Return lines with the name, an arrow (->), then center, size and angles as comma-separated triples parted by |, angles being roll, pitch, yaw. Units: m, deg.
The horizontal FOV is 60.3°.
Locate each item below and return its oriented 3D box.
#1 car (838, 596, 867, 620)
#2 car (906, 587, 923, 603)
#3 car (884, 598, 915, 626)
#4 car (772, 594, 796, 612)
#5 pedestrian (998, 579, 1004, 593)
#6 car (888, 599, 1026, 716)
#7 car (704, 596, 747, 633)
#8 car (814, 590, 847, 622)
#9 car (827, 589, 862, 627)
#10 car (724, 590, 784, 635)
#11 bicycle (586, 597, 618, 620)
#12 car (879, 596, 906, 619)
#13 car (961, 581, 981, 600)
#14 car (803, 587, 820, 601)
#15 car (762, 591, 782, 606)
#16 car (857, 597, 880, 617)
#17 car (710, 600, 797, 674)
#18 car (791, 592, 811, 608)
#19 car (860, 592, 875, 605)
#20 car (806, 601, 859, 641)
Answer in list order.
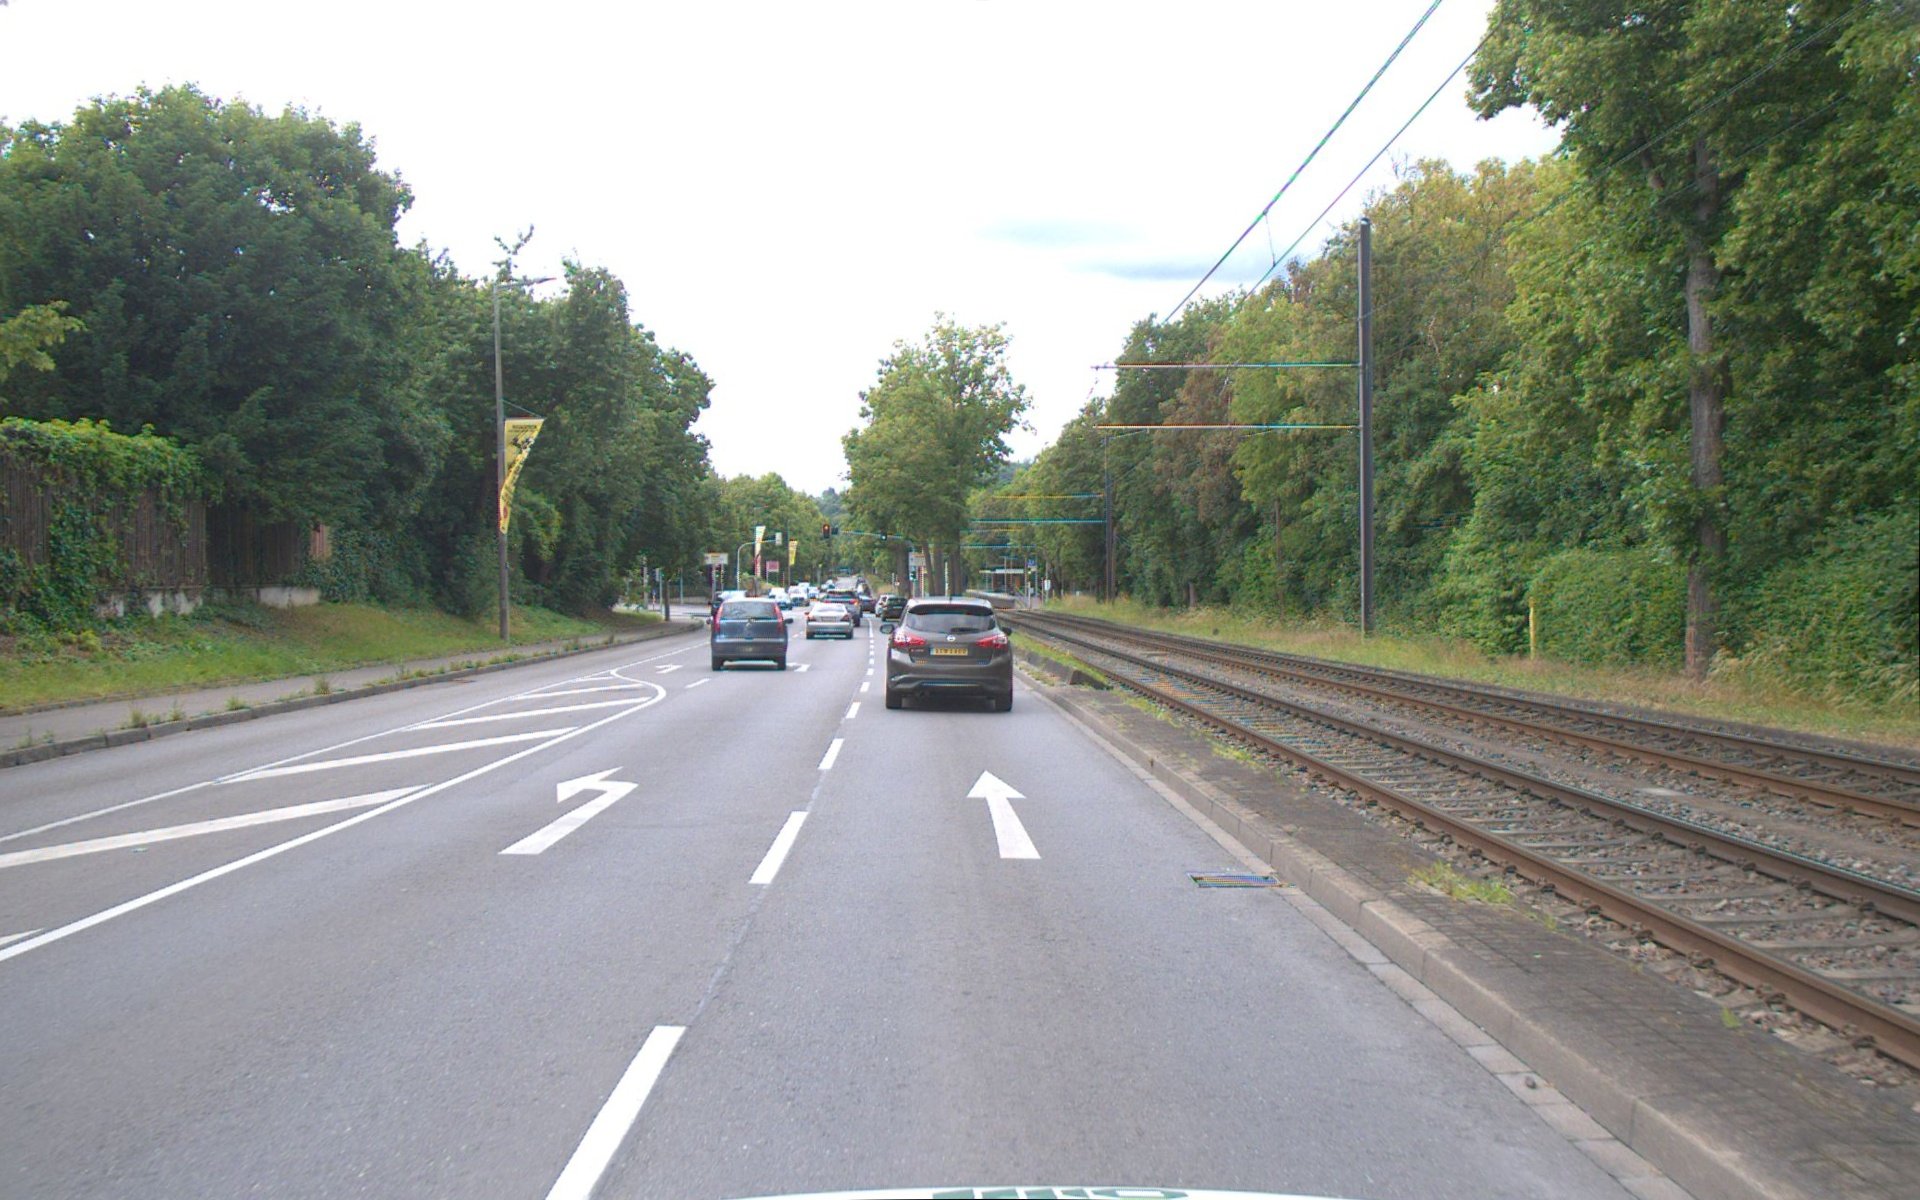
car -> -7.219, 0.532, 111.276 | 1.758, 1.537, 3.999 | 0, 0, -1
car -> -4.650, -0.491, 168.459 | 1.680, 1.577, 3.999 | 0, 0, 0
car -> -3.536, 0.694, 96.739 | 1.680, 1.577, 3.999 | 0, 0, 0
car -> -15.454, 0.297, 145.387 | 1.680, 1.577, 3.999 | 0, 0, 0
pedestrian -> 5.102, -1.736, 205.793 | 0.635, 1.690, 0.650 | 0, 0, -1
car -> -0.042, 0.757, 23.786 | 1.813, 1.519, 4.000 | 0, 0, 0
car -> -11.595, 0.713, 81.939 | 1.681, 1.791, 3.998 | 0, 0, -2
car -> -7.887, 0.354, 100.925 | 1.680, 1.896, 3.999 | 0, 0, 0
car -> -5.822, 0.416, 83.692 | 1.681, 1.896, 3.998 | 0, 0, -3
car -> -7.006, 0.424, 56.498 | 1.681, 1.460, 3.998 | 0, 0, -2
bicycle -> -17.782, 0.413, 82.243 | 0.489, 1.127, 1.797 | 0, 0, 30
car -> -4.621, 0.523, 113.259 | 1.680, 1.577, 3.999 | 0, 0, 0
car -> 1.025, -0.884, 157.266 | 1.681, 1.692, 3.705 | 0, 0, -2
car -> -17.635, -0.706, 197.090 | 1.680, 1.577, 3.999 | 0, 0, 0
car -> -20.493, -0.185, 180.608 | 1.680, 1.577, 3.999 | 0, 0, 0
car -> -7.420, 0.540, 134.176 | 1.680, 1.577, 3.999 | 0, 0, 0
car -> -4.405, 0.758, 35.715 | 1.666, 1.469, 3.996 | 0, 0, -4
car -> -15.807, 0.052, 164.718 | 1.680, 1.577, 3.999 | 0, 0, 0
car -> -11.787, -0.156, 210.087 | 1.680, 1.577, 3.999 | 0, 0, 0
car -> -4.716, 0.764, 61.507 | 1.680, 1.460, 3.999 | 0, 0, 0
